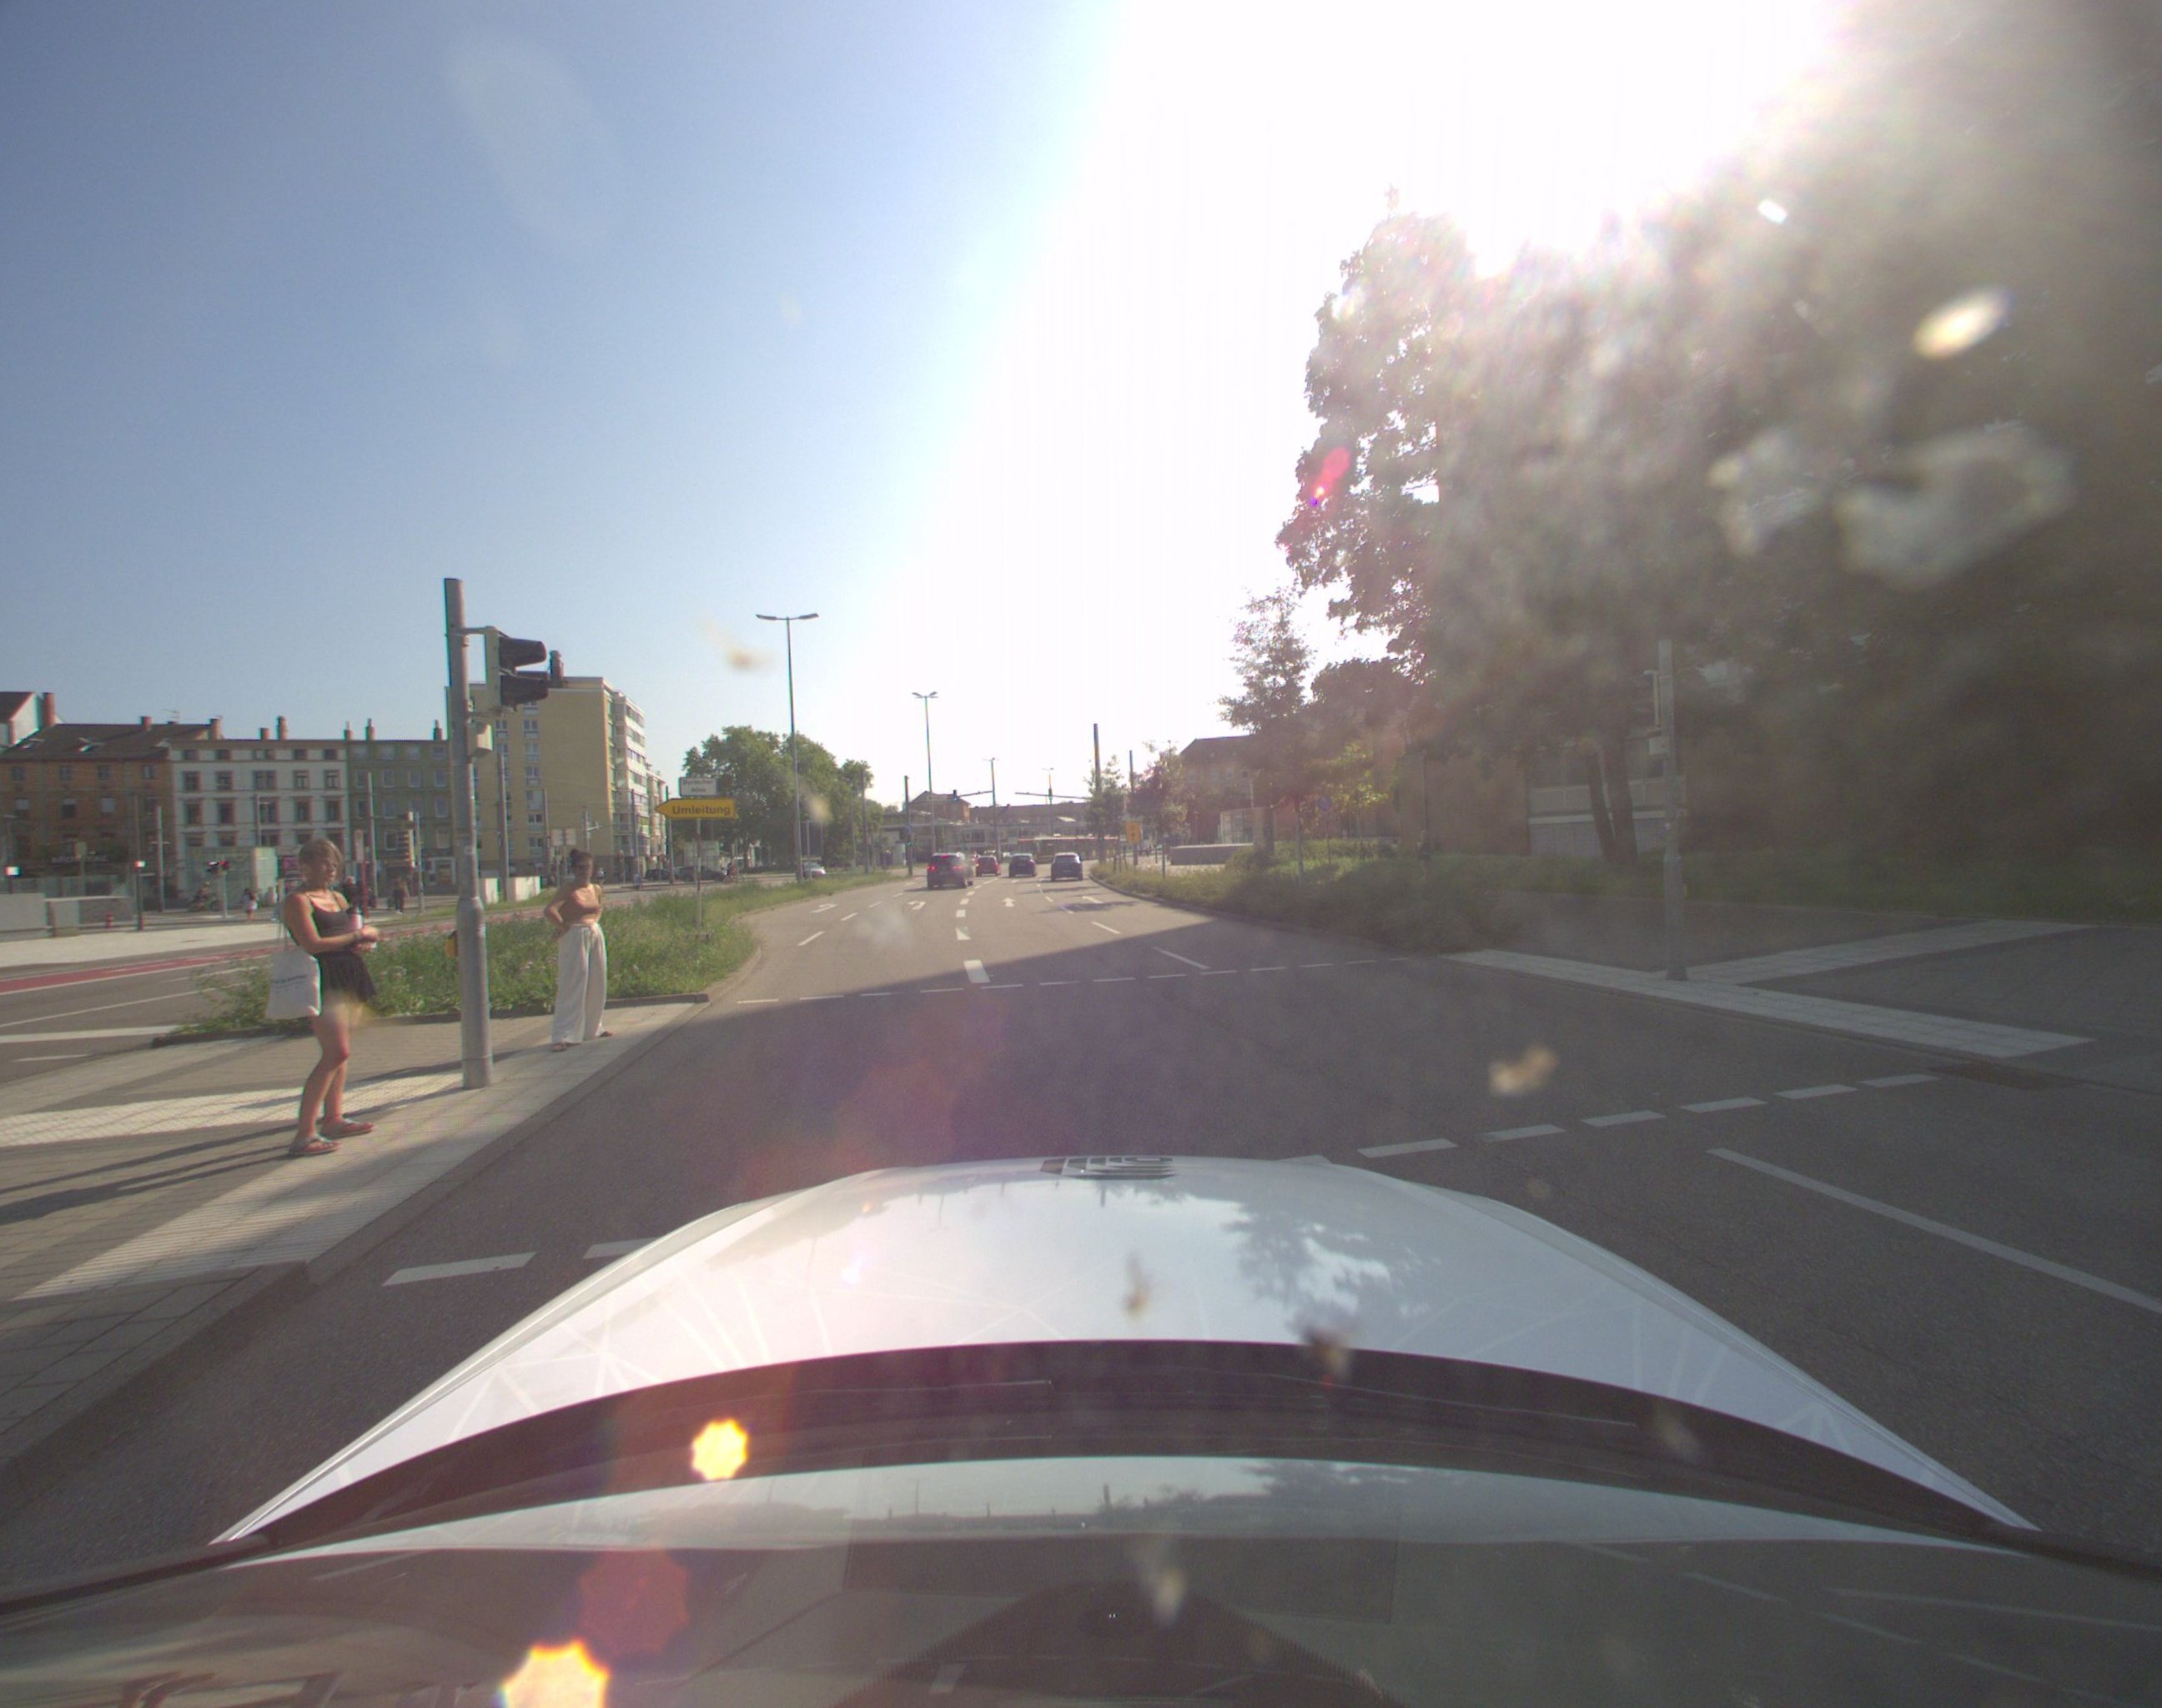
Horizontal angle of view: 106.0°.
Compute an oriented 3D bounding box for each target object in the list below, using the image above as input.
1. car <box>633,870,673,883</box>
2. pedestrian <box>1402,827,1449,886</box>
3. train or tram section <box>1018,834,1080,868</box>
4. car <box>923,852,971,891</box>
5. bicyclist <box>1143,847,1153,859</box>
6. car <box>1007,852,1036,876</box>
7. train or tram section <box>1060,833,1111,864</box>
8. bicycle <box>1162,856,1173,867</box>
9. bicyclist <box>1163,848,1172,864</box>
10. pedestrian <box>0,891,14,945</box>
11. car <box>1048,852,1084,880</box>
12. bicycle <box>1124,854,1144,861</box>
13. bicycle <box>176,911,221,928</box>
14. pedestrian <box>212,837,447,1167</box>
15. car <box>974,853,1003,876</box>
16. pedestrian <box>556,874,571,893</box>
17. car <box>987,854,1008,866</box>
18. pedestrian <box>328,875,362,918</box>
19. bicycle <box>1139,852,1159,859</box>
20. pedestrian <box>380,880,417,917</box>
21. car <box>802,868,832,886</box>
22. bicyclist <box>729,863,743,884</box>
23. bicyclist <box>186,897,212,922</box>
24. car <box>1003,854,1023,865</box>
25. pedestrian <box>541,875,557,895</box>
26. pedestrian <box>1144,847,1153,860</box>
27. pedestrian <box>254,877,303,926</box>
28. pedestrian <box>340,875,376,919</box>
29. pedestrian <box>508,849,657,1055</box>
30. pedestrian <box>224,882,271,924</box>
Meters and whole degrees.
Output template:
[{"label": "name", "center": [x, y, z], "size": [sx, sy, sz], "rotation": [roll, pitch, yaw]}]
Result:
[{"label": "car", "center": [-52.878, 2.768, 100.742], "size": [4.172, 1.354, 1.471], "rotation": [-2, 0, -21]}, {"label": "pedestrian", "center": [8.792, 0.065, 20.801], "size": [0.723, 1.443, 0.855], "rotation": [-3, 0, -5]}, {"label": "train or tram section", "center": [-3.656, -0.476, 96.370], "size": [2.631, 3.699, 10.650], "rotation": [-3, 0, 24]}, {"label": "car", "center": [-6.566, 0.800, 40.403], "size": [1.822, 1.714, 4.406], "rotation": [-3, 0, -4]}, {"label": "bicyclist", "center": [9.657, -0.123, 117.707], "size": [0.939, 1.680, 1.084], "rotation": [-3, 0, -26]}, {"label": "car", "center": [-4.073, 0.646, 56.218], "size": [1.822, 1.535, 4.406], "rotation": [-3, 0, -4]}, {"label": "train or tram section", "center": [0.690, -0.781, 106.147], "size": [2.683, 3.699, 10.648], "rotation": [-3, 0, 23]}, {"label": "bicycle", "center": [8.266, 0.734, 77.701], "size": [0.714, 0.959, 1.929], "rotation": [-3, 0, 15]}, {"label": "bicyclist", "center": [8.254, 0.195, 77.744], "size": [0.714, 1.513, 1.008], "rotation": [-3, 0, 15]}, {"label": "pedestrian", "center": [-34.422, 2.039, 25.410], "size": [0.988, 1.705, 0.861], "rotation": [-3, 0, -15]}, {"label": "car", "center": [-0.903, 0.622, 46.250], "size": [1.822, 1.428, 4.406], "rotation": [-3, 0, -4]}, {"label": "bicycle", "center": [7.600, 0.494, 116.130], "size": [2.632, 0.964, 1.084], "rotation": [-3, 0, -26]}, {"label": "bicycle", "center": [-56.851, 4.187, 52.464], "size": [1.815, 0.932, 0.723], "rotation": [-3, 0, -14]}, {"label": "pedestrian", "center": [-4.252, 0.774, 4.671], "size": [0.667, 1.699, 0.688], "rotation": [-3, 0, -14]}, {"label": "car", "center": [-6.828, 0.770, 60.288], "size": [1.822, 1.535, 4.406], "rotation": [-3, 0, -4]}, {"label": "pedestrian", "center": [-46.116, 2.613, 72.549], "size": [0.925, 1.690, 0.916], "rotation": [-2, 0, -20]}, {"label": "car", "center": [-11.716, 0.843, 114.305], "size": [1.603, 1.475, 4.015], "rotation": [-5, 0, 13]}, {"label": "pedestrian", "center": [-32.150, 1.837, 35.593], "size": [0.777, 1.800, 0.698], "rotation": [-3, 0, -10]}, {"label": "bicycle", "center": [9.846, 0.235, 117.801], "size": [2.632, 0.964, 1.084], "rotation": [-3, 0, -26]}, {"label": "pedestrian", "center": [-30.461, 1.987, 36.351], "size": [0.855, 1.559, 0.996], "rotation": [-3, 0, 32]}, {"label": "car", "center": [-23.599, 2.031, 72.824], "size": [1.824, 1.433, 4.186], "rotation": [-3, 0, -28]}, {"label": "bicyclist", "center": [-28.209, 1.614, 66.515], "size": [0.882, 1.652, 0.723], "rotation": [-3, 0, -14]}, {"label": "bicyclist", "center": [-56.819, 3.553, 52.480], "size": [0.795, 1.527, 0.723], "rotation": [-3, 0, -14]}, {"label": "car", "center": [-10.053, 0.860, 120.836], "size": [1.603, 1.475, 4.015], "rotation": [-5, 0, 13]}, {"label": "pedestrian", "center": [-46.726, 2.690, 71.479], "size": [0.925, 1.690, 0.916], "rotation": [-2, 0, -20]}, {"label": "pedestrian", "center": [9.526, -0.023, 115.172], "size": [0.933, 1.797, 0.849], "rotation": [-3, 0, -43]}, {"label": "pedestrian", "center": [-31.138, 1.832, 31.624], "size": [0.981, 1.770, 0.867], "rotation": [-3, 0, 6]}, {"label": "pedestrian", "center": [-31.191, 1.856, 35.137], "size": [0.795, 1.800, 0.779], "rotation": [-3, 0, -3]}, {"label": "pedestrian", "center": [-4.305, 0.803, 7.069], "size": [0.661, 1.654, 0.783], "rotation": [-3, 0, 22]}, {"label": "pedestrian", "center": [-33.387, 1.961, 32.644], "size": [0.980, 1.563, 0.869], "rotation": [-3, 0, 11]}]
